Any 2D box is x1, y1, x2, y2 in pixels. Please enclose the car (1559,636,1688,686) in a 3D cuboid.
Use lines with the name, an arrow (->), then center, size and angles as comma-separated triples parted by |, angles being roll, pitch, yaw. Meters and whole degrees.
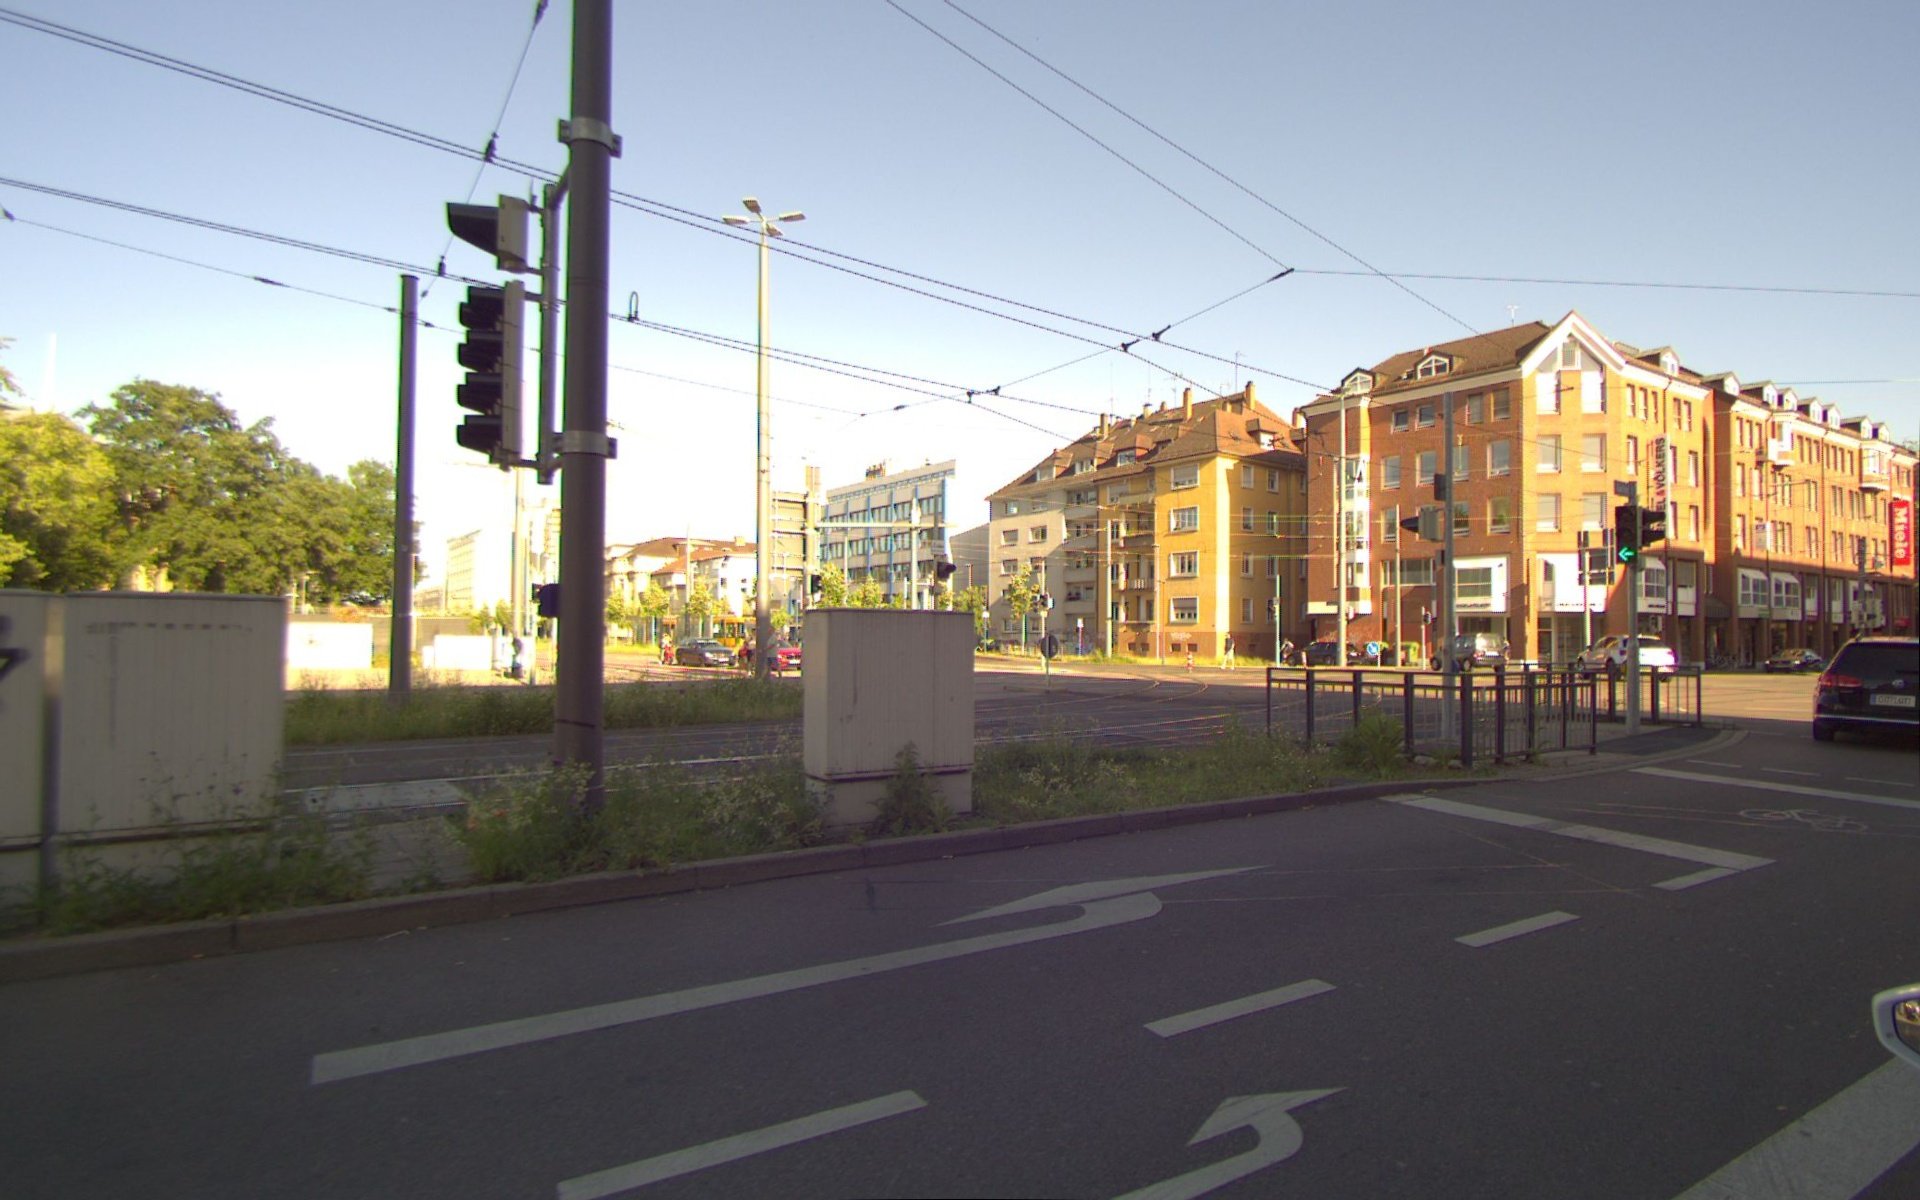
car -> 23.654, 2.162, 35.938 | 1.816, 1.656, 3.472 | 2, -2, -18

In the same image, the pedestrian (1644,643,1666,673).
pedestrian -> 39.703, 3.313, 57.363 | 0.768, 1.615, 0.708 | 2, 1, -32

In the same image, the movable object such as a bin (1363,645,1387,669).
movable object such as a bin -> 26.160, 3.597, 63.304 | 1.087, 1.455, 0.988 | 3, -2, -39

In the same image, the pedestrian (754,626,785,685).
pedestrian -> -5.701, 1.640, 30.060 | 0.700, 1.711, 0.619 | 0, 0, -42

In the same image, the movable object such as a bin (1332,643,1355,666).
movable object such as a bin -> 24.919, 3.530, 65.218 | 1.087, 1.455, 0.988 | 3, -2, -39

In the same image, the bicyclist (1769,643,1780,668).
bicyclist -> 50.249, 3.427, 61.985 | 0.475, 1.490, 0.717 | 0, -2, 36

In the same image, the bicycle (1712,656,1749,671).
bicycle -> 48.558, 3.988, 63.321 | 0.580, 0.912, 1.749 | 3, -2, -33

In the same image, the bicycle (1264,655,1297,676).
bicycle -> 20.382, 4.174, 63.925 | 0.623, 1.239, 2.017 | 3, -2, -39

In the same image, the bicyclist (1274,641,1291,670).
bicyclist -> 20.478, 3.532, 63.846 | 0.609, 1.795, 0.821 | 3, -2, -40

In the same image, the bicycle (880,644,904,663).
bicycle -> -2.933, 2.311, 43.289 | 1.160, 0.774, 0.318 | -1, -3, 45

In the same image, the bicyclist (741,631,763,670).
bicyclist -> -8.234, 2.001, 39.761 | 0.606, 1.513, 0.608 | 3, -2, -43

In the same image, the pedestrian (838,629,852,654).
pedestrian -> -9.386, 3.377, 81.951 | 0.797, 2.036, 0.797 | 0, -2, 45

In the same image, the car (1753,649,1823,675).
car -> 48.304, 3.625, 58.569 | 3.929, 1.472, 1.810 | 2, -4, -29

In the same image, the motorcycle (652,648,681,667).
motorcycle -> -16.089, 3.135, 55.034 | 0.784, 0.997, 2.342 | 3, -2, -36

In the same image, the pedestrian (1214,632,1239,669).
pedestrian -> 12.512, 2.370, 47.169 | 0.921, 1.733, 0.690 | 3, -2, -36

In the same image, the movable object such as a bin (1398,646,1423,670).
movable object such as a bin -> 27.551, 3.537, 61.398 | 1.087, 1.455, 0.988 | 3, -2, -39

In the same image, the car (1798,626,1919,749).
car -> 13.148, 1.149, 13.983 | 4.497, 1.463, 1.748 | 2, -1, -43

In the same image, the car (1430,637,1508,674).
car -> 23.716, 2.561, 46.921 | 1.547, 1.639, 3.782 | 1, -2, -3

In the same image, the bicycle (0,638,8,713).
bicycle -> -17.520, 1.272, 16.929 | 2.004, 1.308, 0.570 | 3, -2, -32

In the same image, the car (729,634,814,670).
car -> -8.487, 2.345, 44.973 | 1.768, 1.529, 4.514 | 3, -4, -39

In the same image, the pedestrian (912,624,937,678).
pedestrian -> -1.321, 1.866, 37.175 | 0.784, 1.959, 0.724 | 2, -2, -9

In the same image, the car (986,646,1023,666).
car -> 3.918, 4.965, 89.338 | 1.549, 1.639, 3.284 | 3, -2, -36

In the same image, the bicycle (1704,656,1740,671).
bicycle -> 47.412, 3.938, 62.496 | 0.516, 0.912, 1.700 | 2, -2, -33

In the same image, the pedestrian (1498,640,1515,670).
pedestrian -> 31.745, 3.201, 58.337 | 0.705, 1.750, 0.682 | 3, -2, -39

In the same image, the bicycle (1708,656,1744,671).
bicycle -> 47.997, 3.970, 62.935 | 0.516, 0.912, 1.700 | 2, -2, -33

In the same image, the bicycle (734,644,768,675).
bicycle -> -8.279, 2.351, 39.782 | 0.608, 1.148, 1.481 | 3, -2, -43

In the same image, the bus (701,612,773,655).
bus -> -20.244, 2.997, 90.715 | 2.923, 3.610, 9.334 | 3, -2, -35

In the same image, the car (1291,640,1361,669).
car -> 20.762, 3.088, 57.114 | 1.711, 1.571, 3.446 | 2, -2, -30

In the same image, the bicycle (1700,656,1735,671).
bicycle -> 46.822, 3.916, 62.101 | 0.516, 0.912, 1.700 | 2, -2, -33

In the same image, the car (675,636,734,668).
car -> -12.898, 2.607, 50.620 | 1.560, 1.491, 3.674 | 3, -2, -36

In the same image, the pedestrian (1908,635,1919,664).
pedestrian -> 53.201, 2.736, 55.741 | 0.575, 1.584, 0.636 | 2, -2, -10

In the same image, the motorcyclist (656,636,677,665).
motorcyclist -> -16.095, 2.780, 55.054 | 0.775, 1.544, 0.914 | 3, -2, -36

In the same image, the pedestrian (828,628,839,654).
pedestrian -> -10.365, 3.364, 82.326 | 0.789, 2.036, 0.805 | 2, -2, -16

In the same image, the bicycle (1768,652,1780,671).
bicycle -> 50.219, 3.779, 61.947 | 0.484, 1.173, 1.677 | 0, -2, 36

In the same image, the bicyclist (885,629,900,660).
bicyclist -> -2.899, 1.932, 43.297 | 0.453, 1.333, 0.397 | 0, -2, 44
